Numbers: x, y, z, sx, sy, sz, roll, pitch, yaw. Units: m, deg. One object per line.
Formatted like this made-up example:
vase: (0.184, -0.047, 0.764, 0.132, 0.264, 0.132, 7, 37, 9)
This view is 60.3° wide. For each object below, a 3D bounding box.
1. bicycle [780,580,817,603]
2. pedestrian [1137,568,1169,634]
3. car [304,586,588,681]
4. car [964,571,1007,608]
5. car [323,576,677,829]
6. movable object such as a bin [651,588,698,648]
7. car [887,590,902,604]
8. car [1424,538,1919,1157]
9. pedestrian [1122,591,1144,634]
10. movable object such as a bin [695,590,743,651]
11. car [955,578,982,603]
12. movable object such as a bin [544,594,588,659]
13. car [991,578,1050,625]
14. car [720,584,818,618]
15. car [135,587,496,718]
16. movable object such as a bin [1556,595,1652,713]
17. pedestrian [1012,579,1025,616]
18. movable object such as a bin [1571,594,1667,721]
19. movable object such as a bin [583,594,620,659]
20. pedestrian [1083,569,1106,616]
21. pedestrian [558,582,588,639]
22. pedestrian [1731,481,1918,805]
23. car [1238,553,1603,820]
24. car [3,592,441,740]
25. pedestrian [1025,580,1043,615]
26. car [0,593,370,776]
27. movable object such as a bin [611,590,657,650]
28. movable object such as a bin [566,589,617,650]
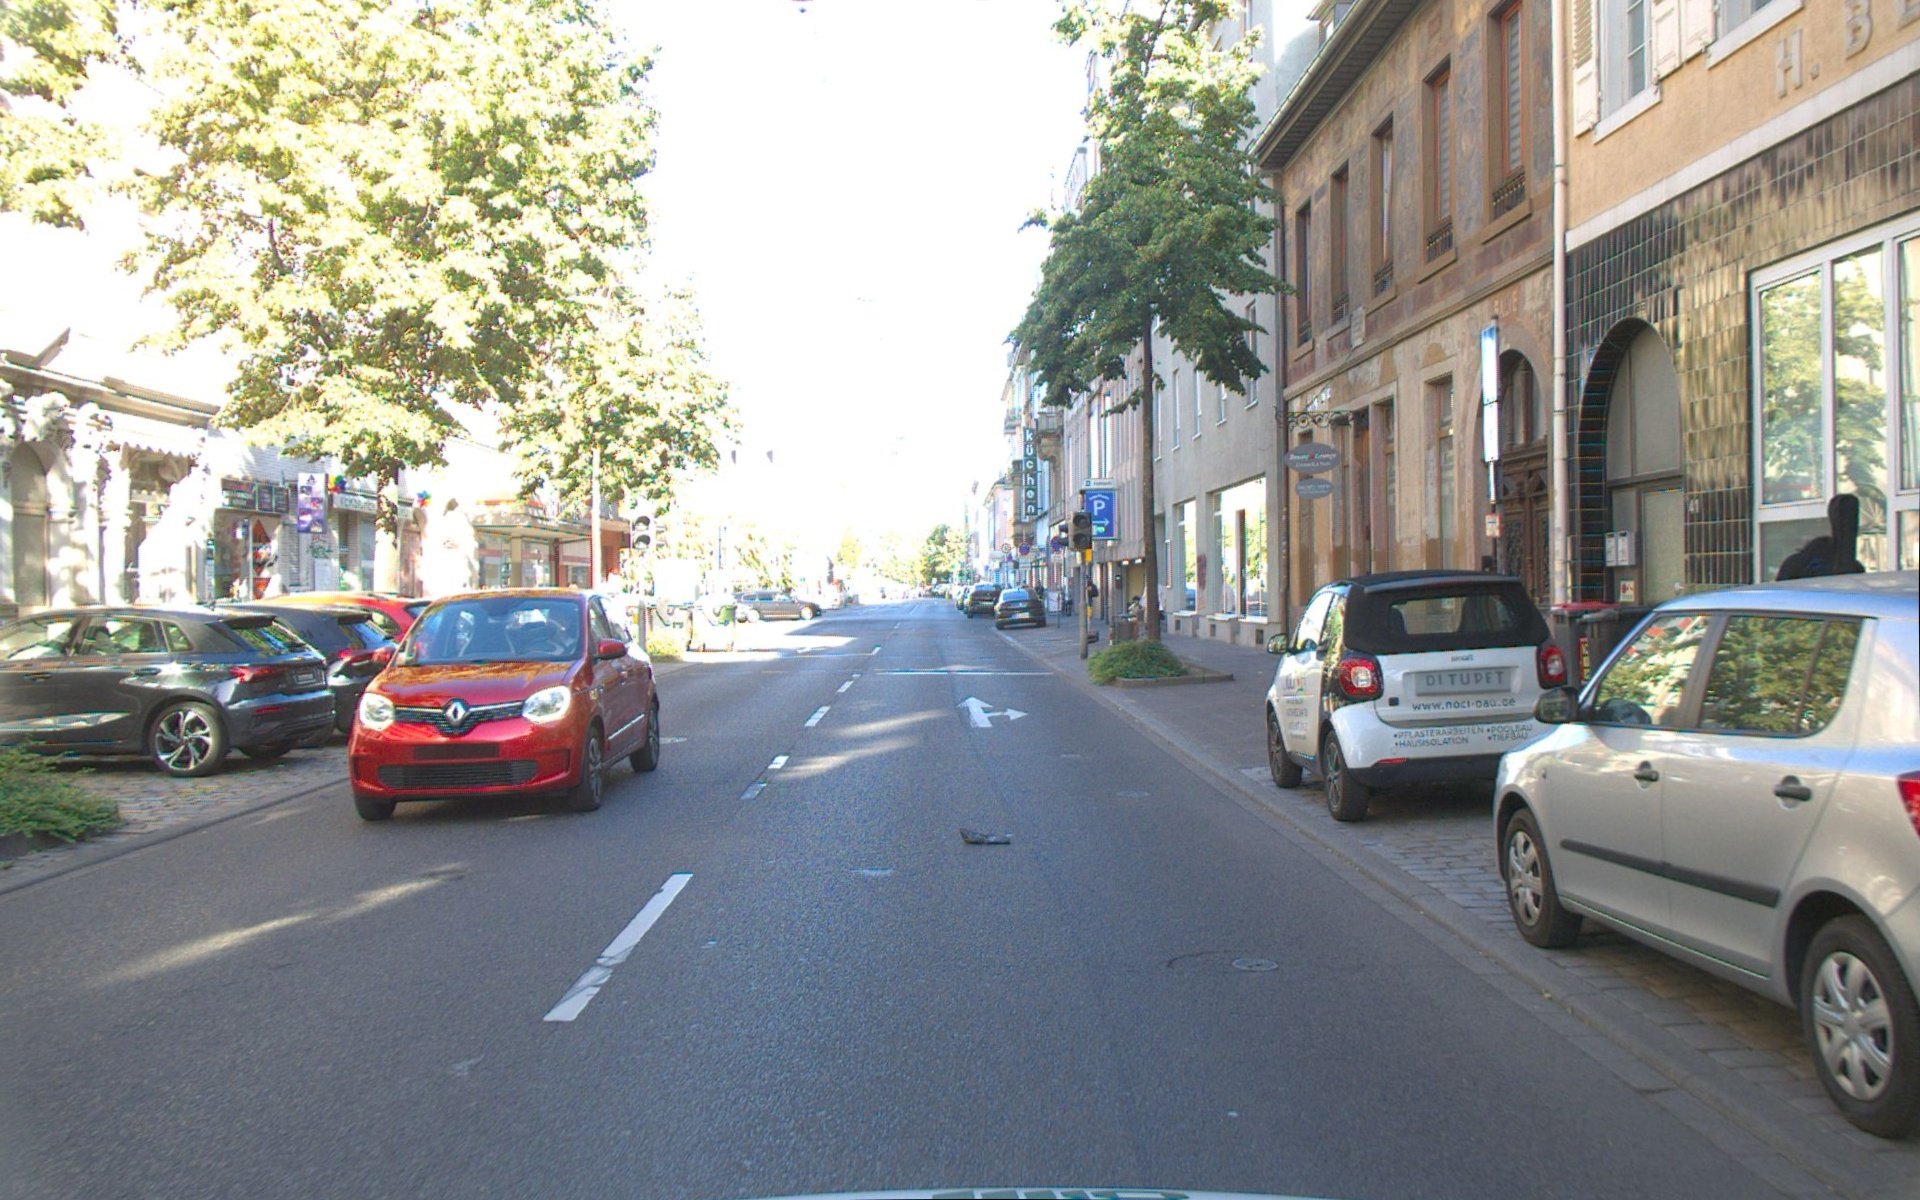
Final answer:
bicycle: (-14.207, -0.764, 145.701, 3.054, 2.049, 0.909, 0, 0, 8)
pedestrian: (4.852, 0.024, 41.583, 0.569, 1.586, 1.020, -4, 0, -2)
car: (-8.408, 0.526, 27.282, 4.116, 1.494, 1.740, 0, 1, 1)
car: (1.217, -0.530, 81.189, 1.933, 1.755, 4.823, 1, 1, -1)
car: (-3.288, 0.637, 12.551, 1.624, 1.561, 3.760, -2, 1, -1)
movable object such as a bin: (-7.283, 0.451, 42.236, 1.021, 1.497, 1.143, -1, 0, -2)
car: (-9.229, -0.418, 232.574, 1.952, 1.802, 4.001, 0, 1, 0)
car: (3.172, 0.593, 6.000, 1.581, 1.555, 4.233, -4, 1, -2)
pedestrian: (4.354, 0.306, 41.643, 0.385, 1.051, 0.739, -4, 0, -2)
movable object such as a bin: (-6.158, 0.504, 42.345, 1.021, 1.497, 1.452, -1, 0, -2)
car: (0.576, -0.657, 117.045, 1.682, 1.664, 4.082, 0, -1, -3)
movable object such as a bin: (-8.471, 0.560, 35.587, 0.739, 1.364, 0.805, -1, 0, -2)
car: (2.210, 0.023, 61.716, 1.879, 1.504, 4.964, -5, 1, -1)
car: (-8.839, 0.032, 76.716, 4.234, 1.513, 1.912, -1, 1, -42)
car: (-7.693, 0.600, 19.994, 3.672, 1.494, 1.739, 0, 1, -2)
movable object such as a bin: (6.131, 0.504, 15.771, 0.576, 1.058, 0.722, -3, 0, 0)
pedestrian: (2.871, -0.136, 81.422, 0.607, 1.797, 0.518, -1, 0, 1)
movable object such as a bin: (5.792, 0.491, 14.567, 0.511, 1.058, 0.722, -3, 0, 0)
movable object such as a bin: (-7.706, 0.570, 35.575, 0.621, 1.364, 0.805, -1, 0, -2)
pedestrian: (4.882, -0.289, 60.089, 0.678, 1.664, 0.889, -3, 1, -2)
pedestrian: (-11.707, 0.304, 50.065, 0.651, 1.688, 1.036, -1, 0, -2)
pedestrian: (5.056, 0.237, 9.717, 0.610, 1.795, 0.771, -3, 0, 0)
car: (3.093, 0.516, 11.689, 1.581, 1.555, 3.059, -3, 0, -2)
car: (-7.616, 0.652, 17.332, 3.762, 1.453, 1.790, 0, 1, 0)
pedestrian: (3.632, -0.132, 81.385, 0.784, 1.704, 0.589, -3, 0, 1)
car: (-7.507, 0.704, 14.737, 3.838, 1.511, 1.771, 0, 1, 0)
movable object such as a bin: (-8.304, 0.503, 42.147, 0.944, 1.497, 1.143, -1, 0, -2)
movable object such as a bin: (-9.372, 0.486, 42.110, 1.021, 1.497, 1.143, -1, 0, -2)
